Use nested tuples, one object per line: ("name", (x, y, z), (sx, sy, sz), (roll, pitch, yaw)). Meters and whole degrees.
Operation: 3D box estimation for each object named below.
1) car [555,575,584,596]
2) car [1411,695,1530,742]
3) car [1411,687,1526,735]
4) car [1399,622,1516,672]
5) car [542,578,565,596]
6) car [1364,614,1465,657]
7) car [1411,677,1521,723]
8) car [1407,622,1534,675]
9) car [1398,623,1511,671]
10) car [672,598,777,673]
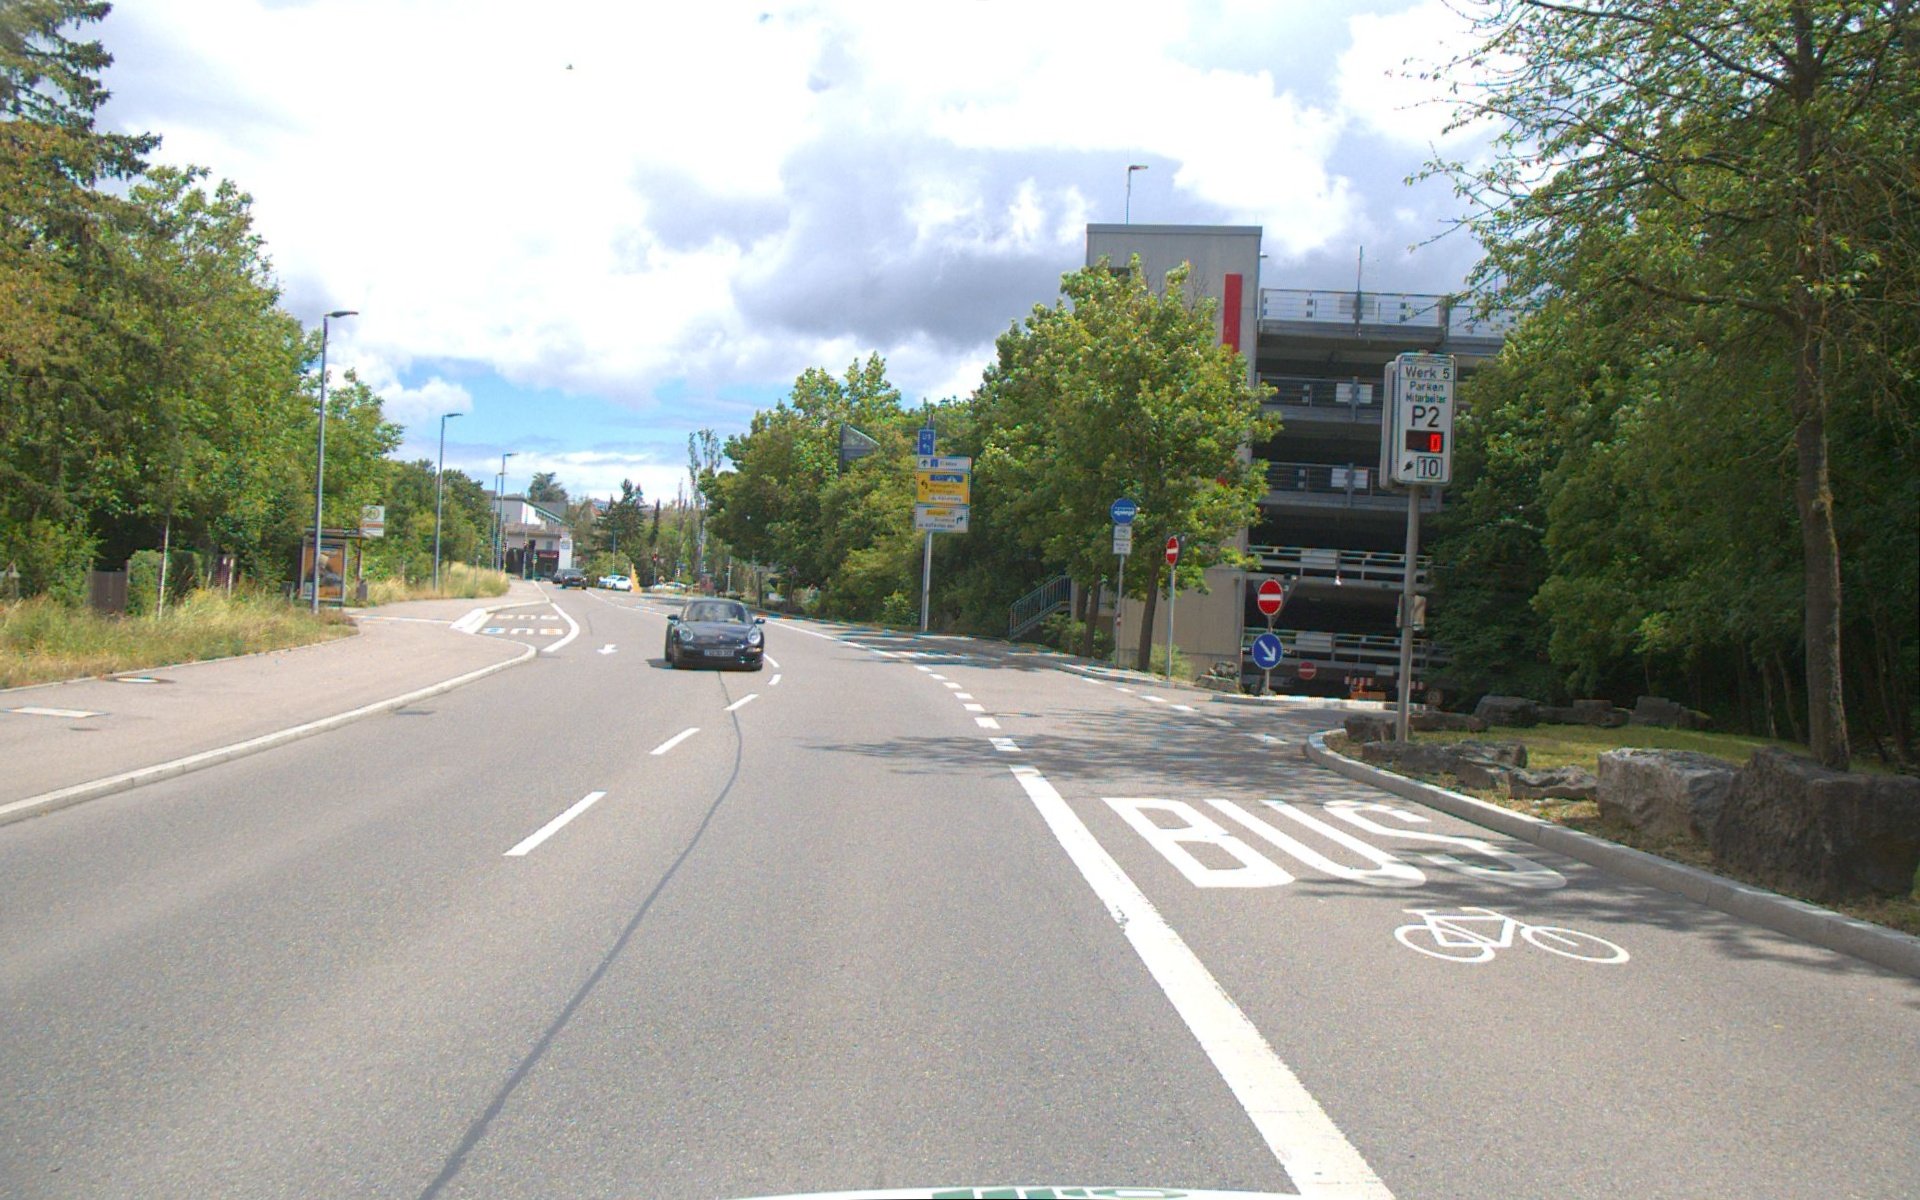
("car", (-30.449, -1.149, 128.853), (1.794, 1.584, 4.606), (1, 1, -18))
("car", (19.739, 4.568, 64.125), (4.222, 1.443, 2.001), (3, 0, 14))
("car", (20.319, 4.432, 66.229), (4.222, 1.515, 2.001), (3, 0, 14))
("car", (19.483, 1.826, 64.894), (4.222, 1.659, 2.001), (3, 0, 14))
("car", (-36.669, -1.164, 149.074), (1.739, 1.467, 4.355), (2, 0, -18))
("car", (20.247, 1.579, 73.826), (4.222, 1.659, 2.001), (3, 0, 14))
("car", (20.936, 4.121, 68.593), (4.222, 1.515, 2.001), (3, 0, 14))
("car", (18.555, 1.757, 60.304), (4.222, 1.659, 2.001), (3, 0, 14))
("car", (19.959, 1.868, 66.908), (4.222, 1.659, 2.001), (3, 0, 14))
("car", (-4.529, 0.662, 32.310), (1.700, 1.324, 4.001), (2, 0, -4))
